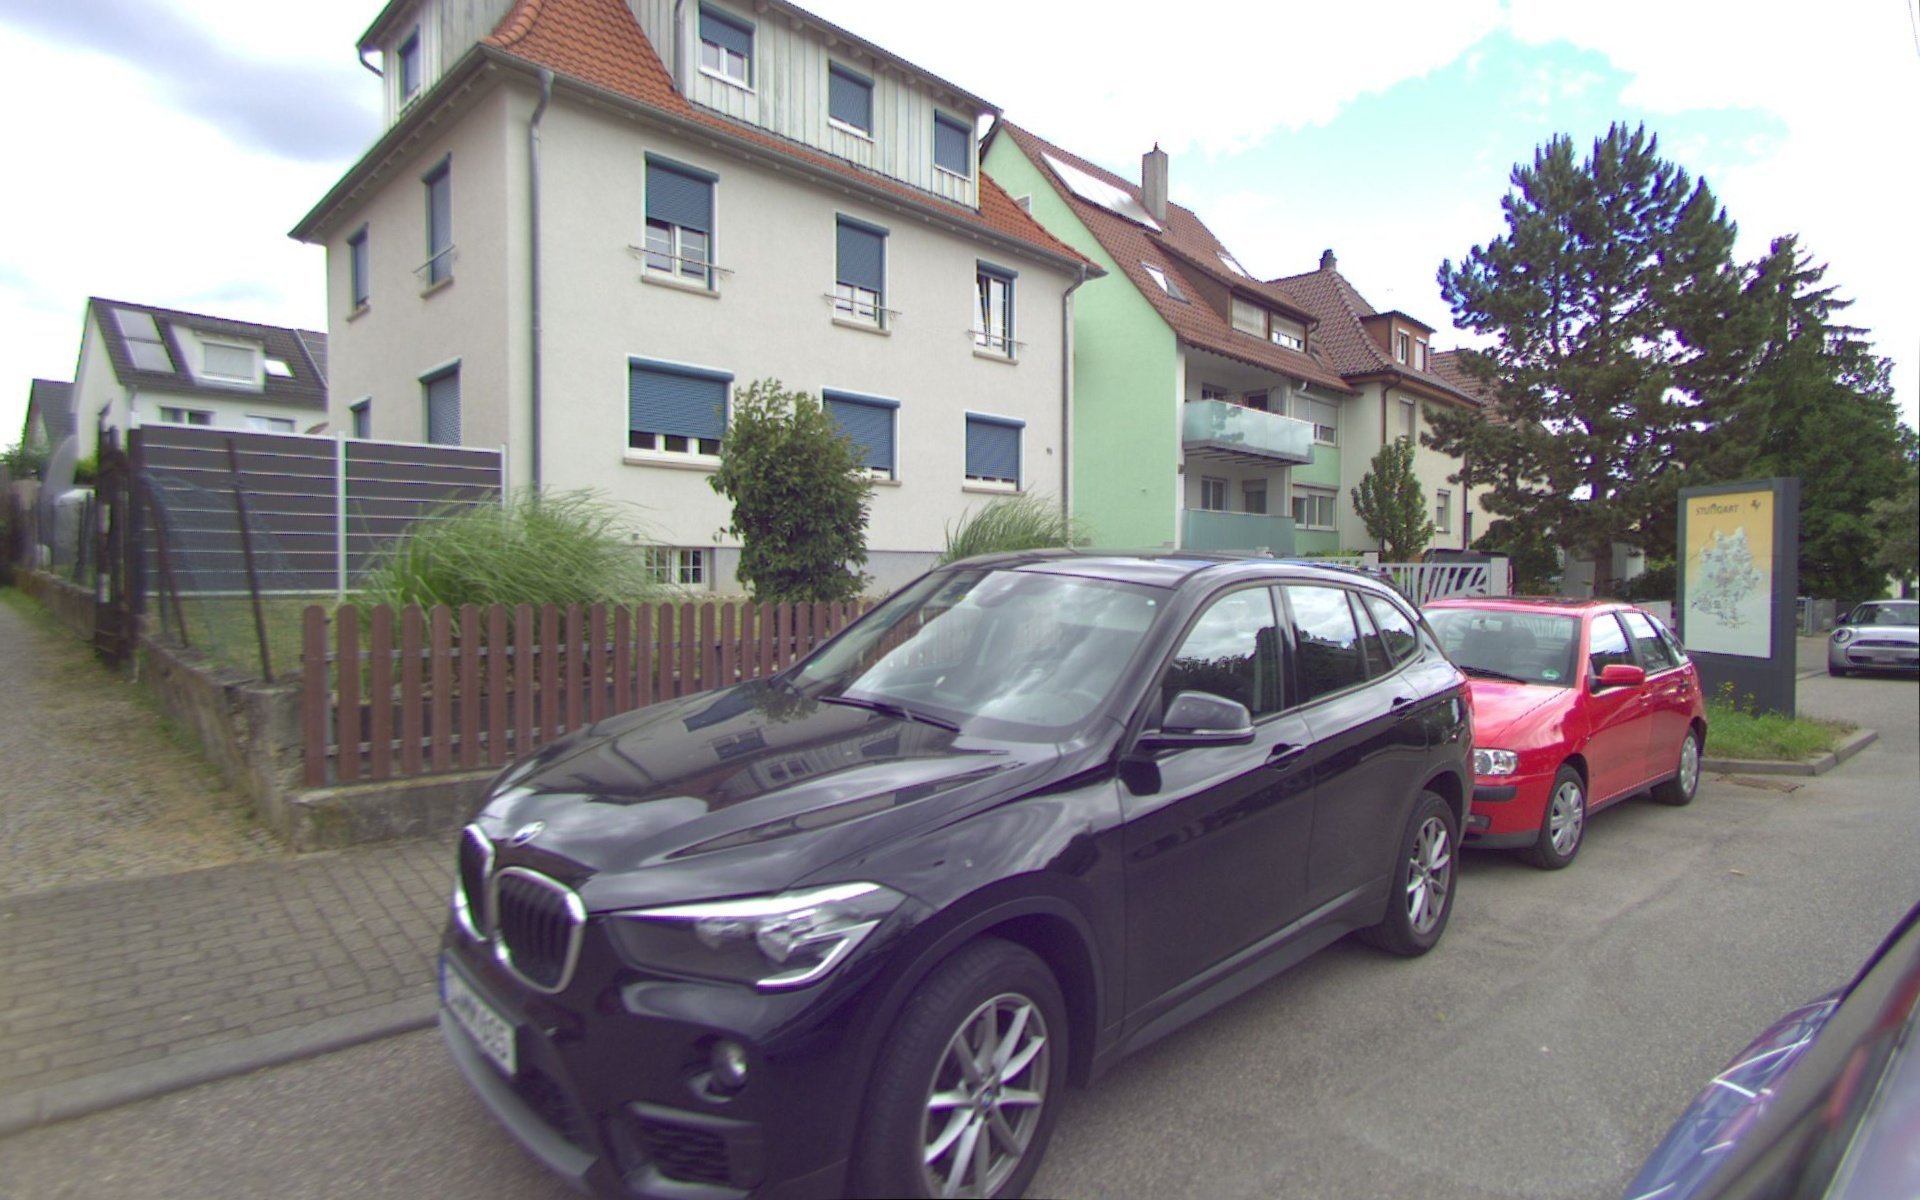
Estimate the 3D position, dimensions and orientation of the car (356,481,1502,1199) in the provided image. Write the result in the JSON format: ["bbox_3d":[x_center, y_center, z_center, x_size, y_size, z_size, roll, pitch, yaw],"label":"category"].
[{"bbox_3d":[0.333,0.574,3.628,4.030,1.584,1.664,0,2,-44],"label":"car"}]

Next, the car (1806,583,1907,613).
[{"bbox_3d":[54.639,-0.146,61.734,1.833,1.506,4.428,-1,4,-42],"label":"car"}]

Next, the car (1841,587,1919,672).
[{"bbox_3d":[17.823,0.490,18.811,3.930,1.399,1.653,-2,2,-41],"label":"car"}]

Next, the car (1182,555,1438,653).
[{"bbox_3d":[6.534,-0.020,19.227,4.259,1.524,1.670,5,5,42],"label":"car"}]

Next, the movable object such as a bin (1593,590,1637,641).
[{"bbox_3d":[15.137,0.356,23.415,0.586,1.068,0.612,5,6,15],"label":"movable object such as a bin"}]

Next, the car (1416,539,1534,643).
[{"bbox_3d":[12.039,-0.338,23.961,1.957,2.037,4.692,5,5,22],"label":"car"}]

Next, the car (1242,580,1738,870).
[{"bbox_3d":[3.682,0.609,6.805,3.601,1.410,1.666,0,1,-39],"label":"car"}]

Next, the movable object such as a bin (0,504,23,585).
[{"bbox_3d":[-18.475,-1.026,18.893,1.405,1.496,1.378,-1,1,-42],"label":"movable object such as a bin"}]

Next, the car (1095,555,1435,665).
[{"bbox_3d":[4.343,0.094,14.514,4.385,1.397,1.829,0,3,-18],"label":"car"}]

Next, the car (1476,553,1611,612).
[{"bbox_3d":[22.271,-0.727,38.737,1.855,1.722,3.995,-3,9,-44],"label":"car"}]

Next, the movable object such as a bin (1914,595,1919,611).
[{"bbox_3d":[64.858,0.216,68.294,0.635,1.059,0.577,0,1,40],"label":"movable object such as a bin"}]
